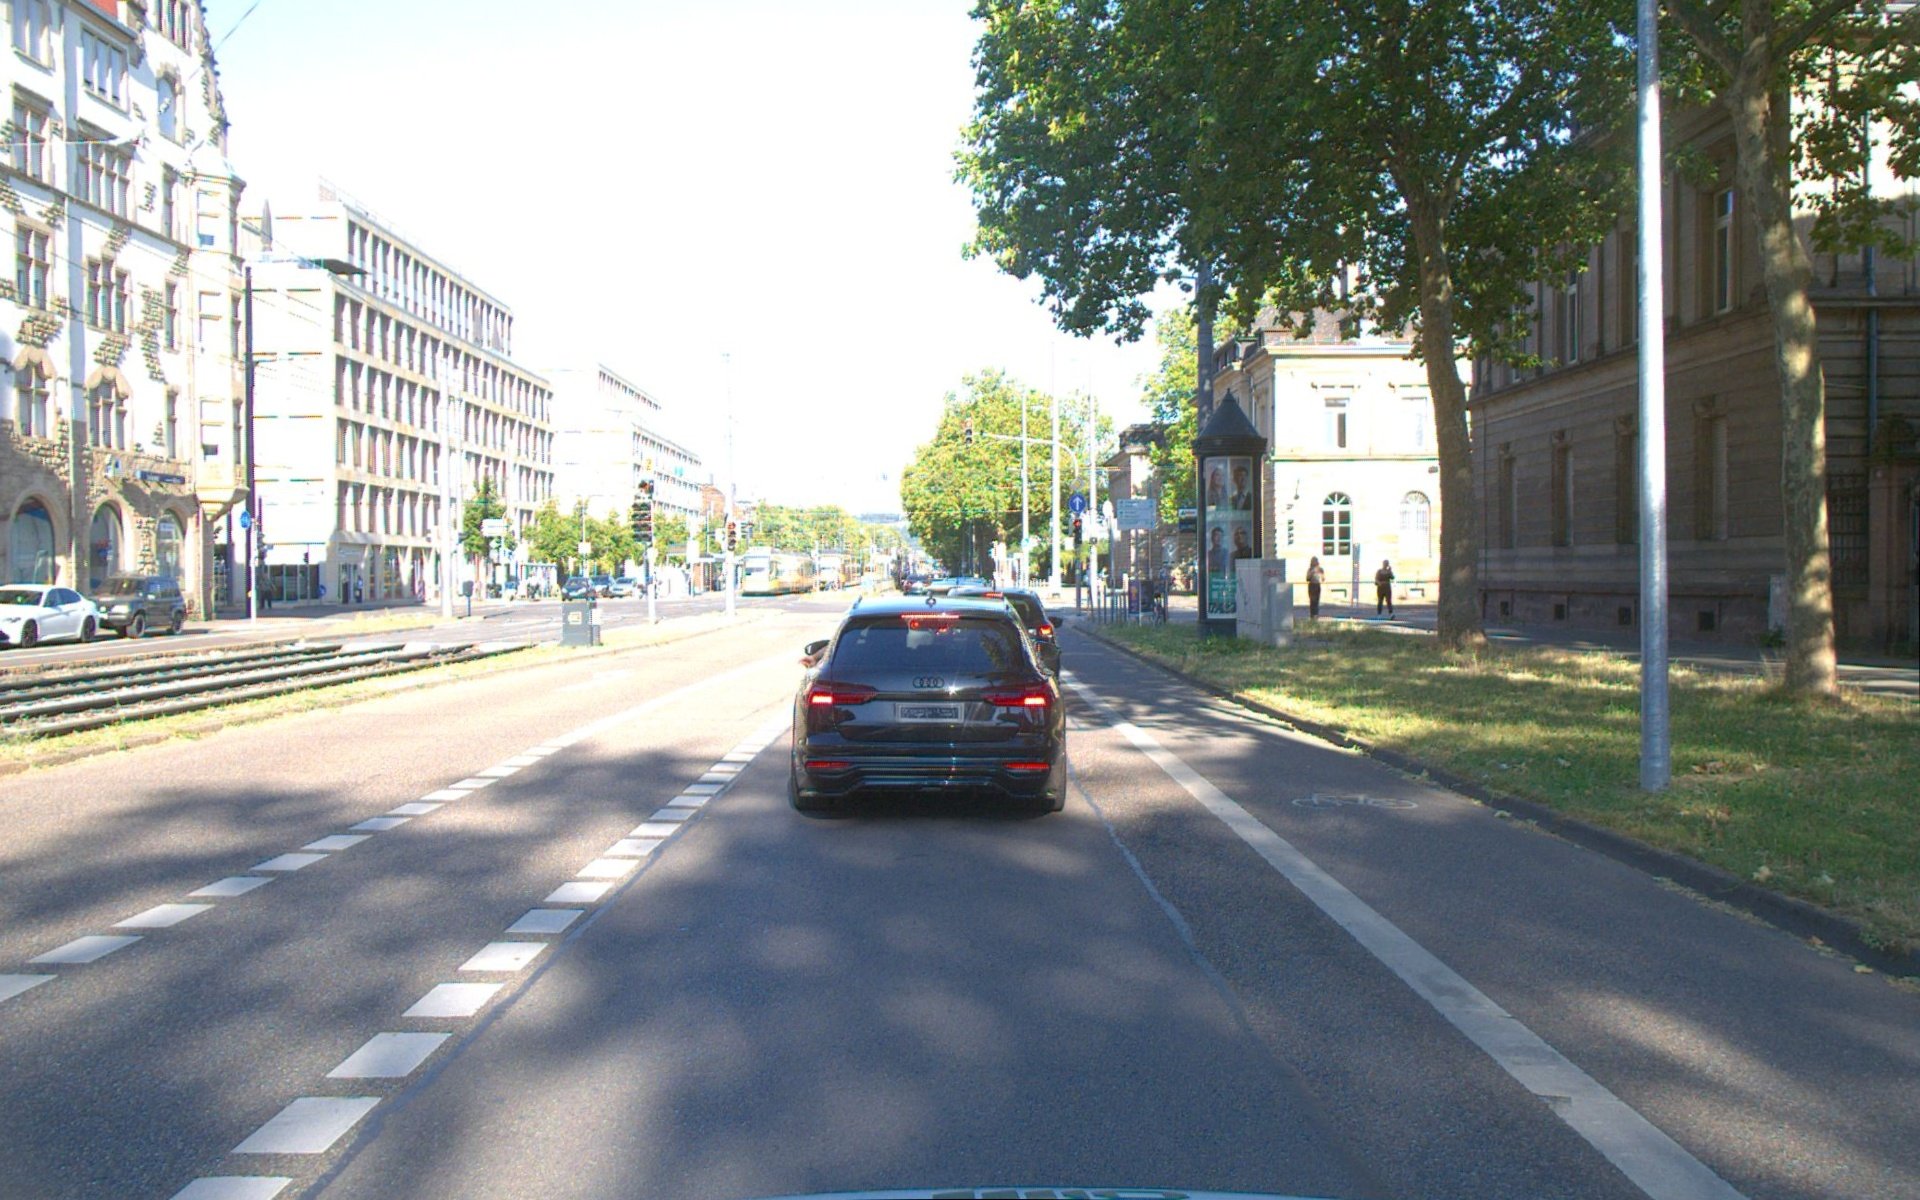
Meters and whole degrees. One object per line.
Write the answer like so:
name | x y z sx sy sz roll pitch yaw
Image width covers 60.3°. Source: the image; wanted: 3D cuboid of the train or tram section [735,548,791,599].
train or tram section | -14.703 -2.012 124.102 2.756 3.550 13.202 -1 1 -1

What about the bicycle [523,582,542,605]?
bicycle | -27.165 -0.427 105.097 0.671 1.406 1.947 -1 1 0

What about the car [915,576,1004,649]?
car | -0.030 0.245 36.768 1.864 1.512 4.144 0 1 -1

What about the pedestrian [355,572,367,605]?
pedestrian | -35.200 -0.680 97.165 0.527 1.875 0.437 -2 1 -39

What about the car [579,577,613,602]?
car | -28.250 -0.855 128.562 1.805 1.844 4.112 -1 1 -2

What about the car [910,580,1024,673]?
car | 0.102 0.412 29.087 1.864 1.512 4.144 0 1 -1

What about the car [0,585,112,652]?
car | -22.795 0.417 40.640 1.682 1.447 4.654 2 1 -3

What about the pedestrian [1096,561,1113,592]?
pedestrian | 8.985 -1.471 102.752 0.959 1.898 0.826 -1 1 -2

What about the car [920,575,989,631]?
car | -0.157 0.060 47.097 1.864 1.512 4.144 0 1 -1

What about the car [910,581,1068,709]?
car | 0.329 0.515 21.730 1.864 1.512 4.144 0 1 -1

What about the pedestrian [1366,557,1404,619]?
pedestrian | 11.457 -0.320 44.650 0.753 1.634 0.986 -1 1 0

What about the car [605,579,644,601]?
car | -23.831 -0.709 117.642 1.782 1.482 4.541 -1 1 1

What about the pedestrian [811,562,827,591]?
pedestrian | -8.877 -1.480 103.938 0.733 1.771 0.656 -1 1 -33

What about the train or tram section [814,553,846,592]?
train or tram section | -12.122 -2.584 155.087 2.556 3.511 11.127 -1 1 -3

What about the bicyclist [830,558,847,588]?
bicyclist | -7.563 -1.654 102.885 0.752 1.850 0.753 -2 1 -40

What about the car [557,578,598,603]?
car | -23.817 -0.590 103.111 1.783 1.482 4.164 -1 1 -3

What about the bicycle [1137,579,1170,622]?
bicycle | 5.088 0.007 43.569 0.529 1.080 1.770 -1 1 -4

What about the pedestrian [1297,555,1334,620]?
pedestrian | 9.620 -0.343 44.804 0.753 1.739 1.042 -1 1 0

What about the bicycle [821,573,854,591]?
bicycle | -7.599 -1.124 102.865 1.994 1.127 0.753 -2 1 -41

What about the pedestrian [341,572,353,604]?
pedestrian | -35.950 -0.683 96.999 0.469 1.875 0.437 -2 1 -39

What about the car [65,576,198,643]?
car | -22.956 0.222 45.979 1.682 1.704 4.215 1 1 -3

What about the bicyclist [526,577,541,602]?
bicyclist | -27.102 -0.668 105.077 0.671 1.590 0.785 -1 1 0

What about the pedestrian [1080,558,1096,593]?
pedestrian | 6.318 -1.226 81.851 0.668 1.689 0.758 -1 1 -3

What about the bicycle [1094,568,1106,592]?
bicycle | 6.931 -1.009 81.892 0.426 1.165 1.340 -1 1 -3

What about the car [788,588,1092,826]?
car | -0.139 0.644 12.252 1.864 1.446 4.144 0 1 -1
